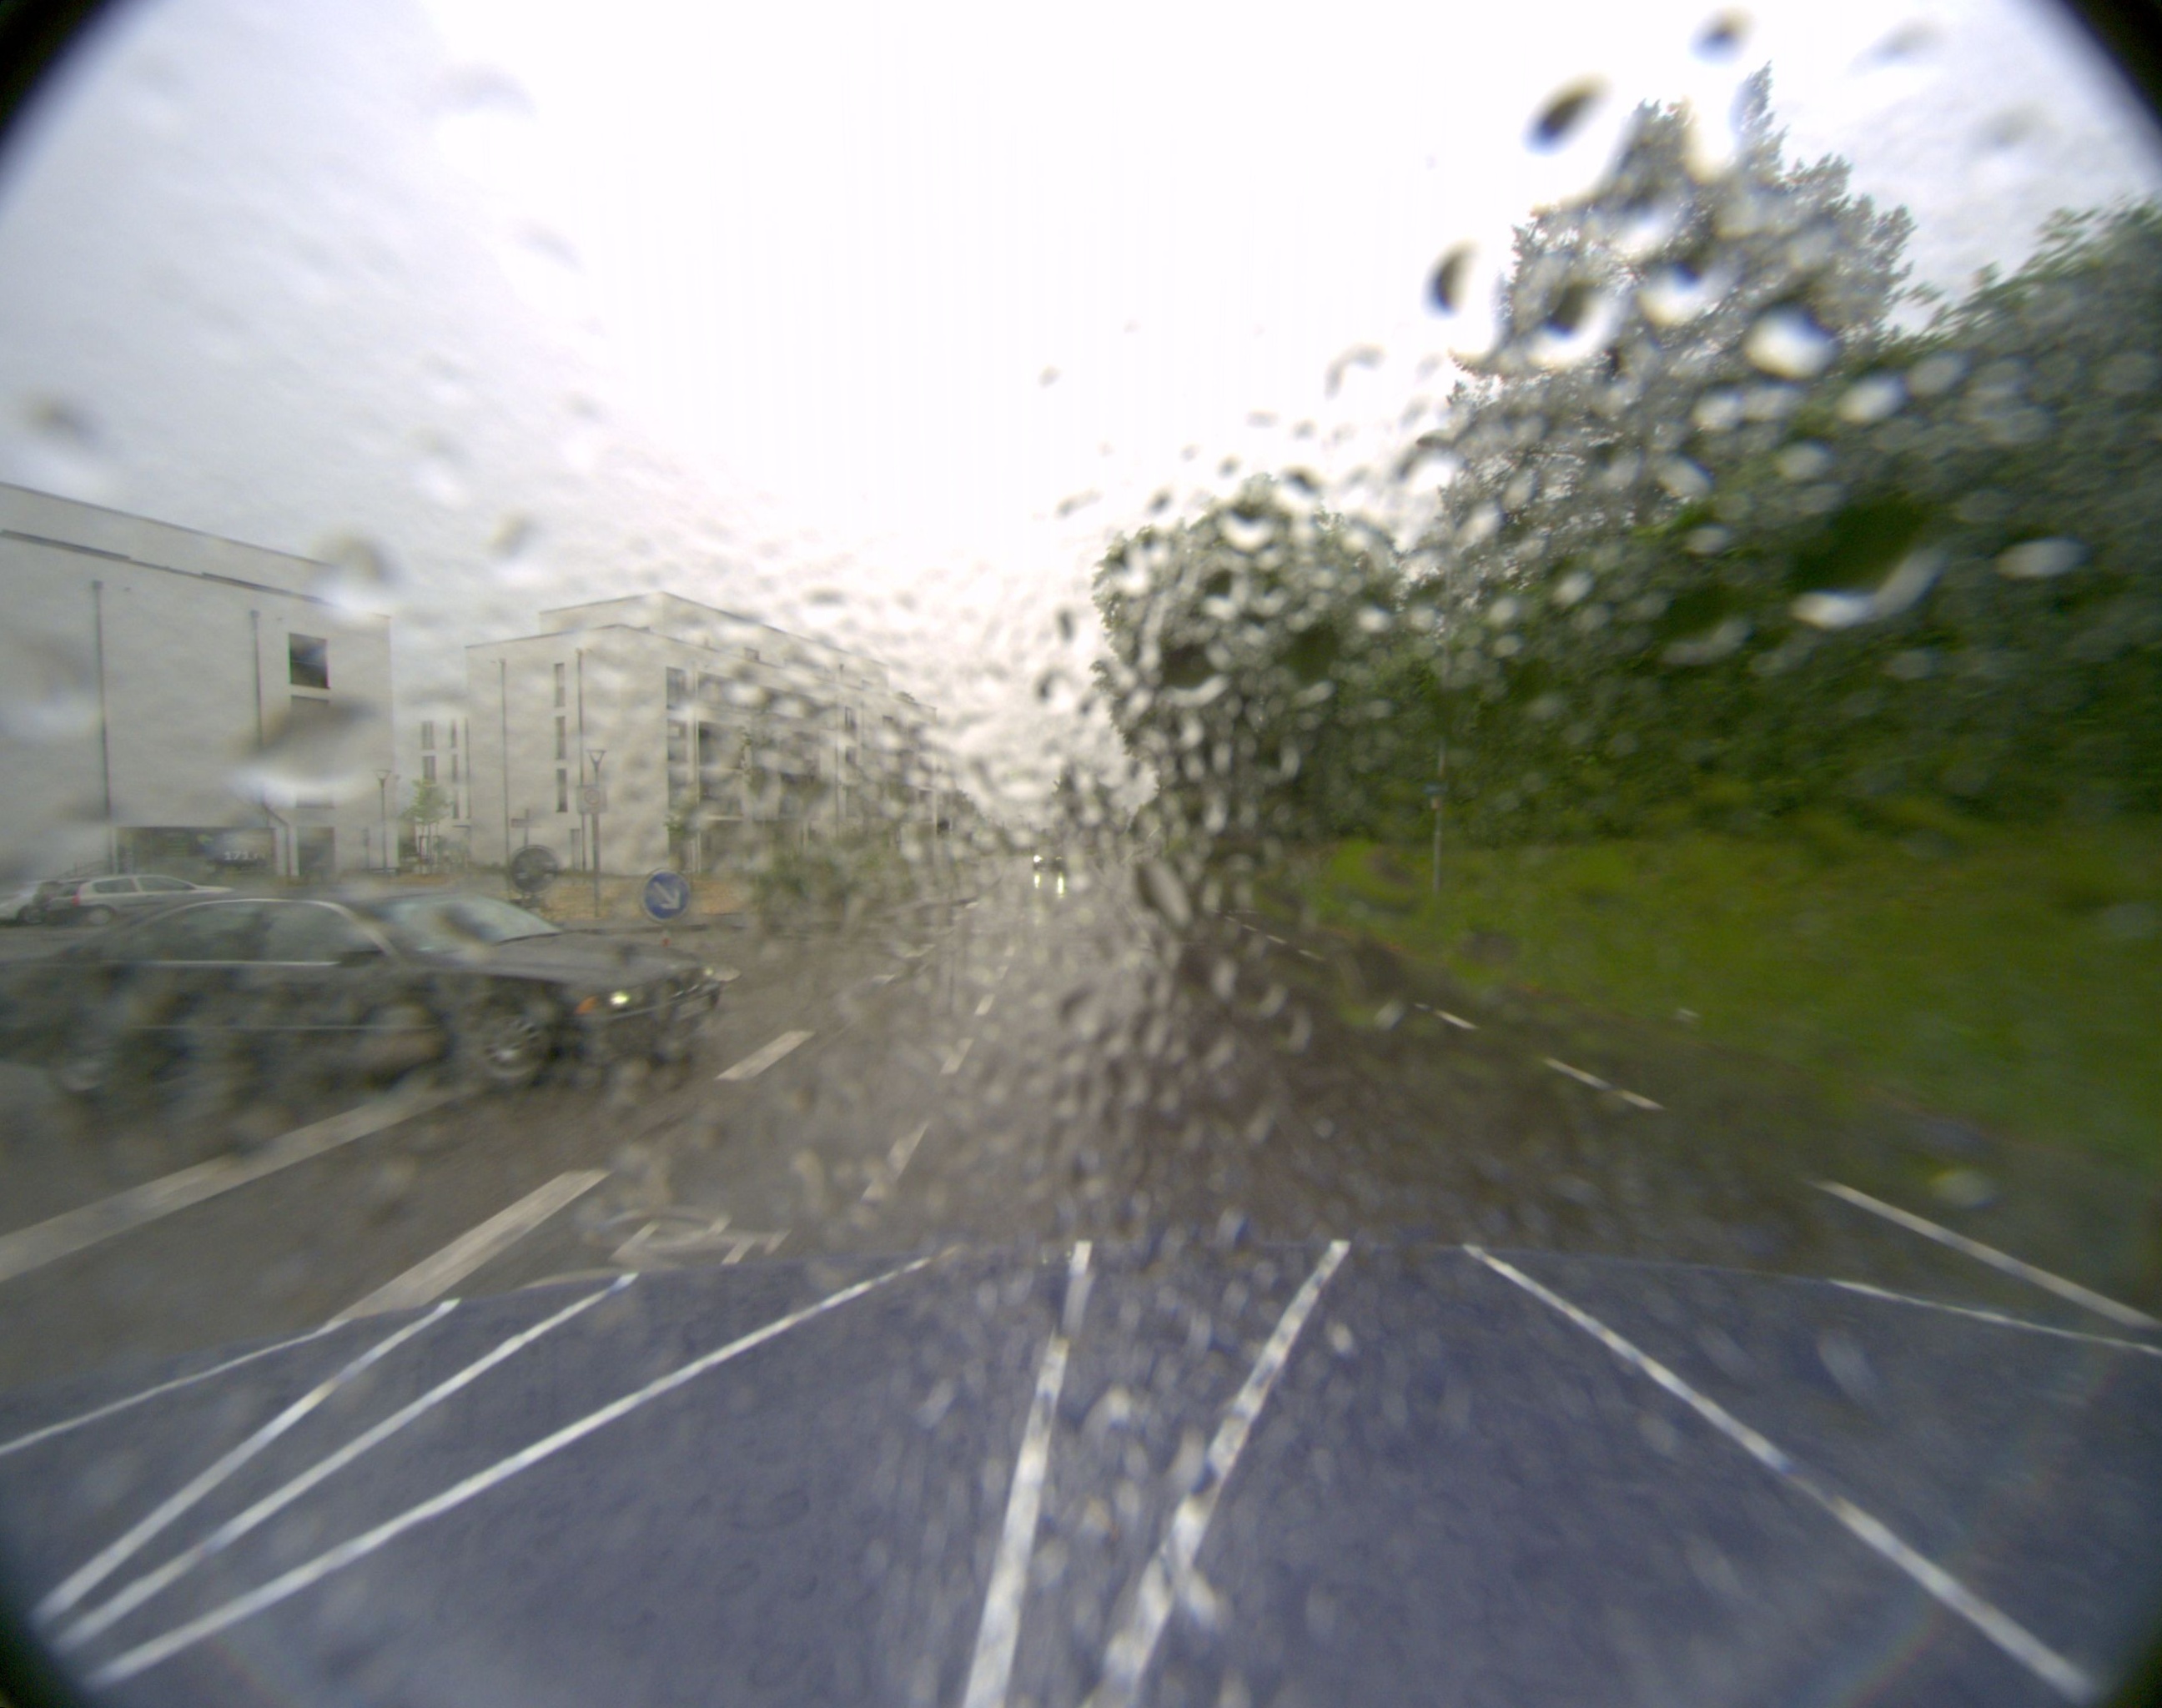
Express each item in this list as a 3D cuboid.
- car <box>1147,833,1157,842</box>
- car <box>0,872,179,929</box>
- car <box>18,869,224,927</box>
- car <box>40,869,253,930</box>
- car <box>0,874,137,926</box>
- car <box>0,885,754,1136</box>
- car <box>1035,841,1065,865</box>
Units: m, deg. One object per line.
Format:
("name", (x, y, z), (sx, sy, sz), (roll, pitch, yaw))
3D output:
("car", (12.650, -2.958, 135.069), (1.575, 1.402, 3.475), (1, 2, 9))
("car", (-33.546, 1.486, 25.532), (1.718, 1.434, 3.709), (0, 4, 18))
("car", (-31.195, 1.359, 24.857), (1.718, 1.434, 3.709), (0, 4, 18))
("car", (-28.838, 1.339, 23.623), (1.718, 1.434, 3.709), (0, 4, 18))
("car", (-35.975, 1.567, 26.264), (1.718, 1.434, 3.709), (0, 4, 18))
("car", (-5.268, 1.057, 5.824), (4.611, 1.379, 1.947), (-2, 1, 2))
("car", (-1.941, -0.053, 48.608), (1.765, 1.477, 3.791), (0, 0, 0))
